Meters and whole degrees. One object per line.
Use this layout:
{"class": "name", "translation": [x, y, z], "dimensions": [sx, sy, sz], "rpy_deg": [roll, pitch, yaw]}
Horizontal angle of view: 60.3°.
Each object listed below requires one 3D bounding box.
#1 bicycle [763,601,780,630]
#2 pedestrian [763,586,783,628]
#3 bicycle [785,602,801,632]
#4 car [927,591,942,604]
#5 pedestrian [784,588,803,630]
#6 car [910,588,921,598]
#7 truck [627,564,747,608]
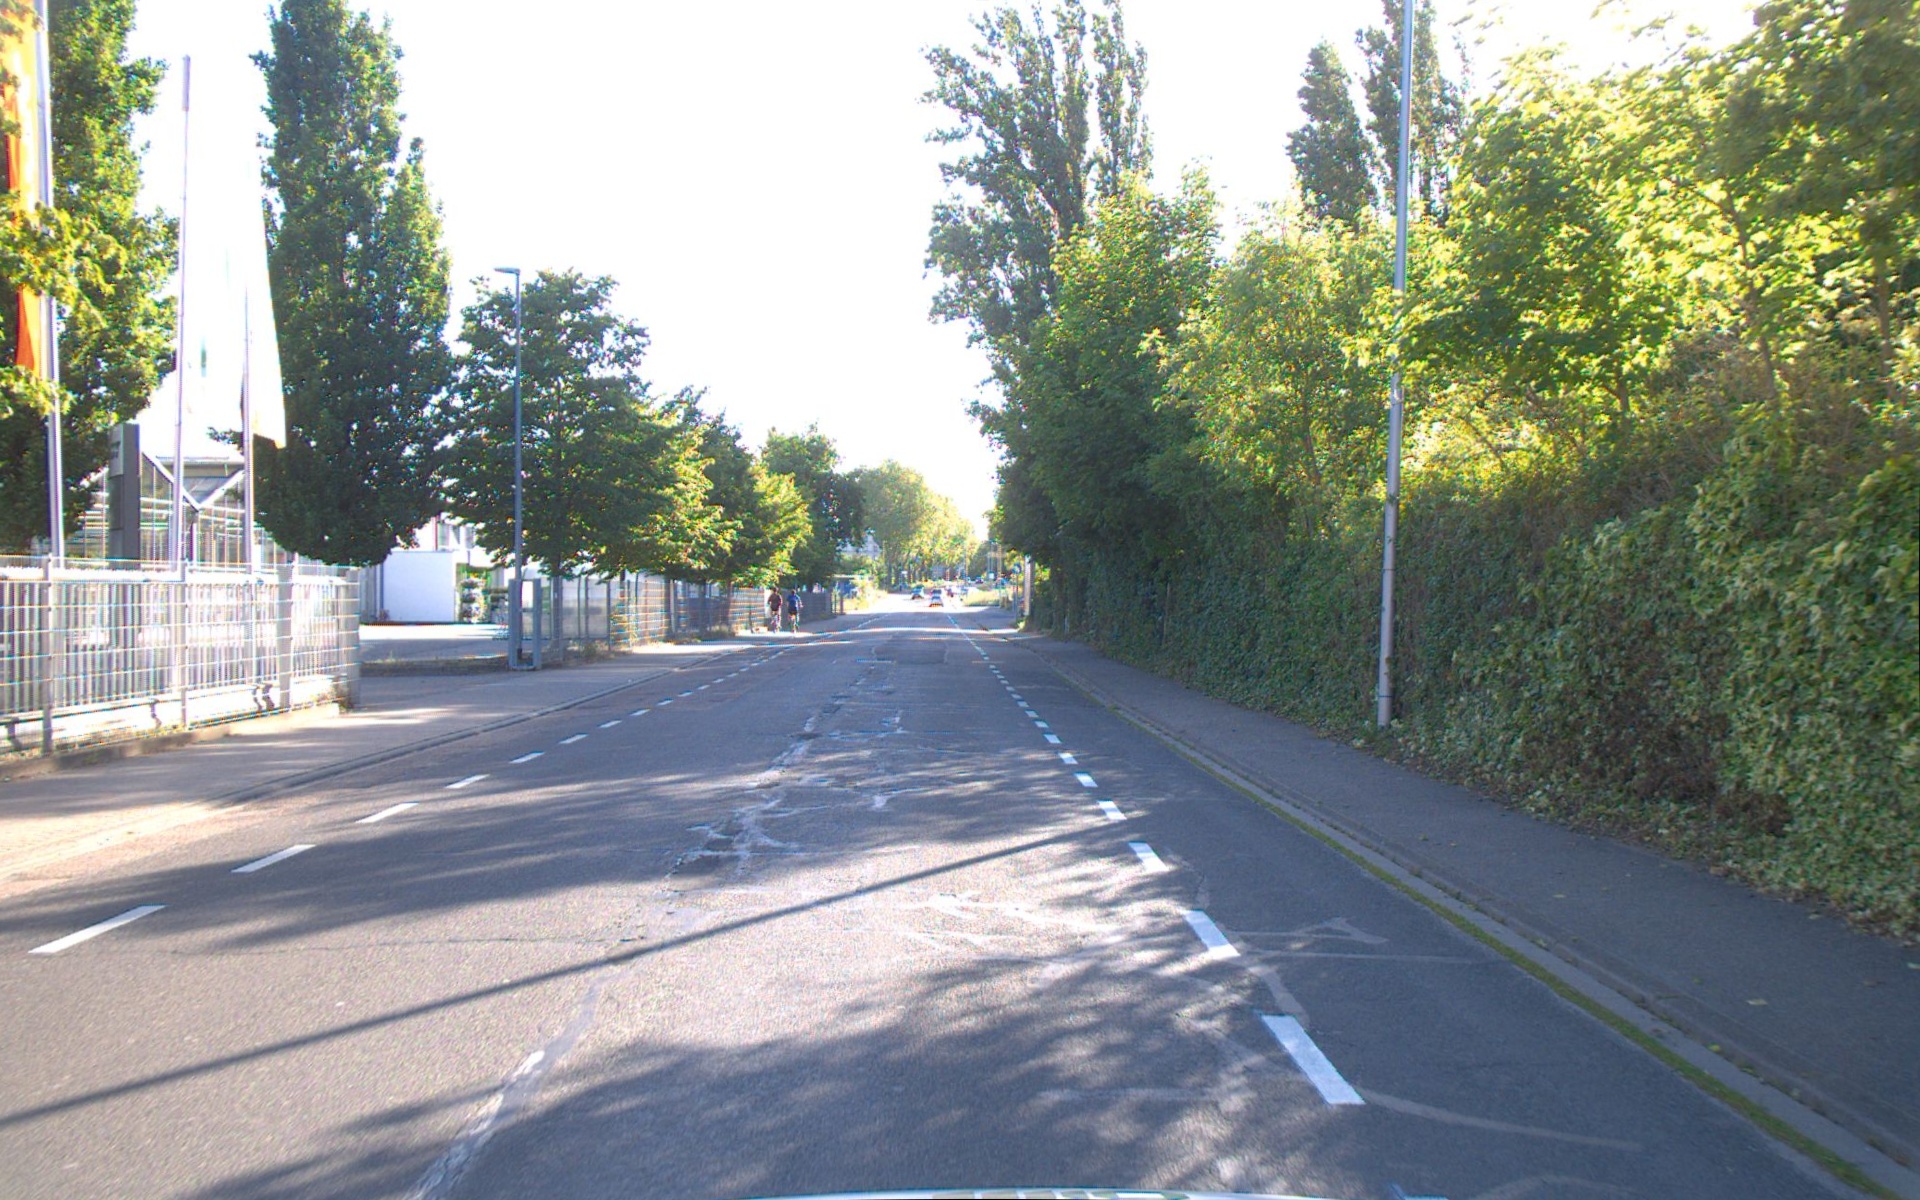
{"class": "bicycle", "translation": [-7.837, 0.634, 68.765], "dimensions": [0.460, 1.168, 1.869], "rpy_deg": [2, 0, -1]}
{"class": "pedestrian", "translation": [-7.800, 0.297, 69.073], "dimensions": [0.706, 1.751, 1.057], "rpy_deg": [0, 0, -1]}
{"class": "bicycle", "translation": [-6.933, 0.691, 68.749], "dimensions": [0.437, 1.168, 2.200], "rpy_deg": [2, 0, -1]}
{"class": "car", "translation": [-3.077, -0.290, 199.733], "dimensions": [1.753, 1.445, 4.001], "rpy_deg": [1, 1, 1]}
{"class": "pedestrian", "translation": [-6.934, 0.358, 68.932], "dimensions": [0.706, 1.751, 1.057], "rpy_deg": [0, 0, -1]}
{"class": "car", "translation": [-6.810, -1.085, 252.464], "dimensions": [1.706, 1.552, 4.109], "rpy_deg": [0, 0, -3]}
{"class": "truck", "translation": [-23.721, -1.188, 143.988], "dimensions": [9.895, 3.678, 2.775], "rpy_deg": [1, 0, -2]}
